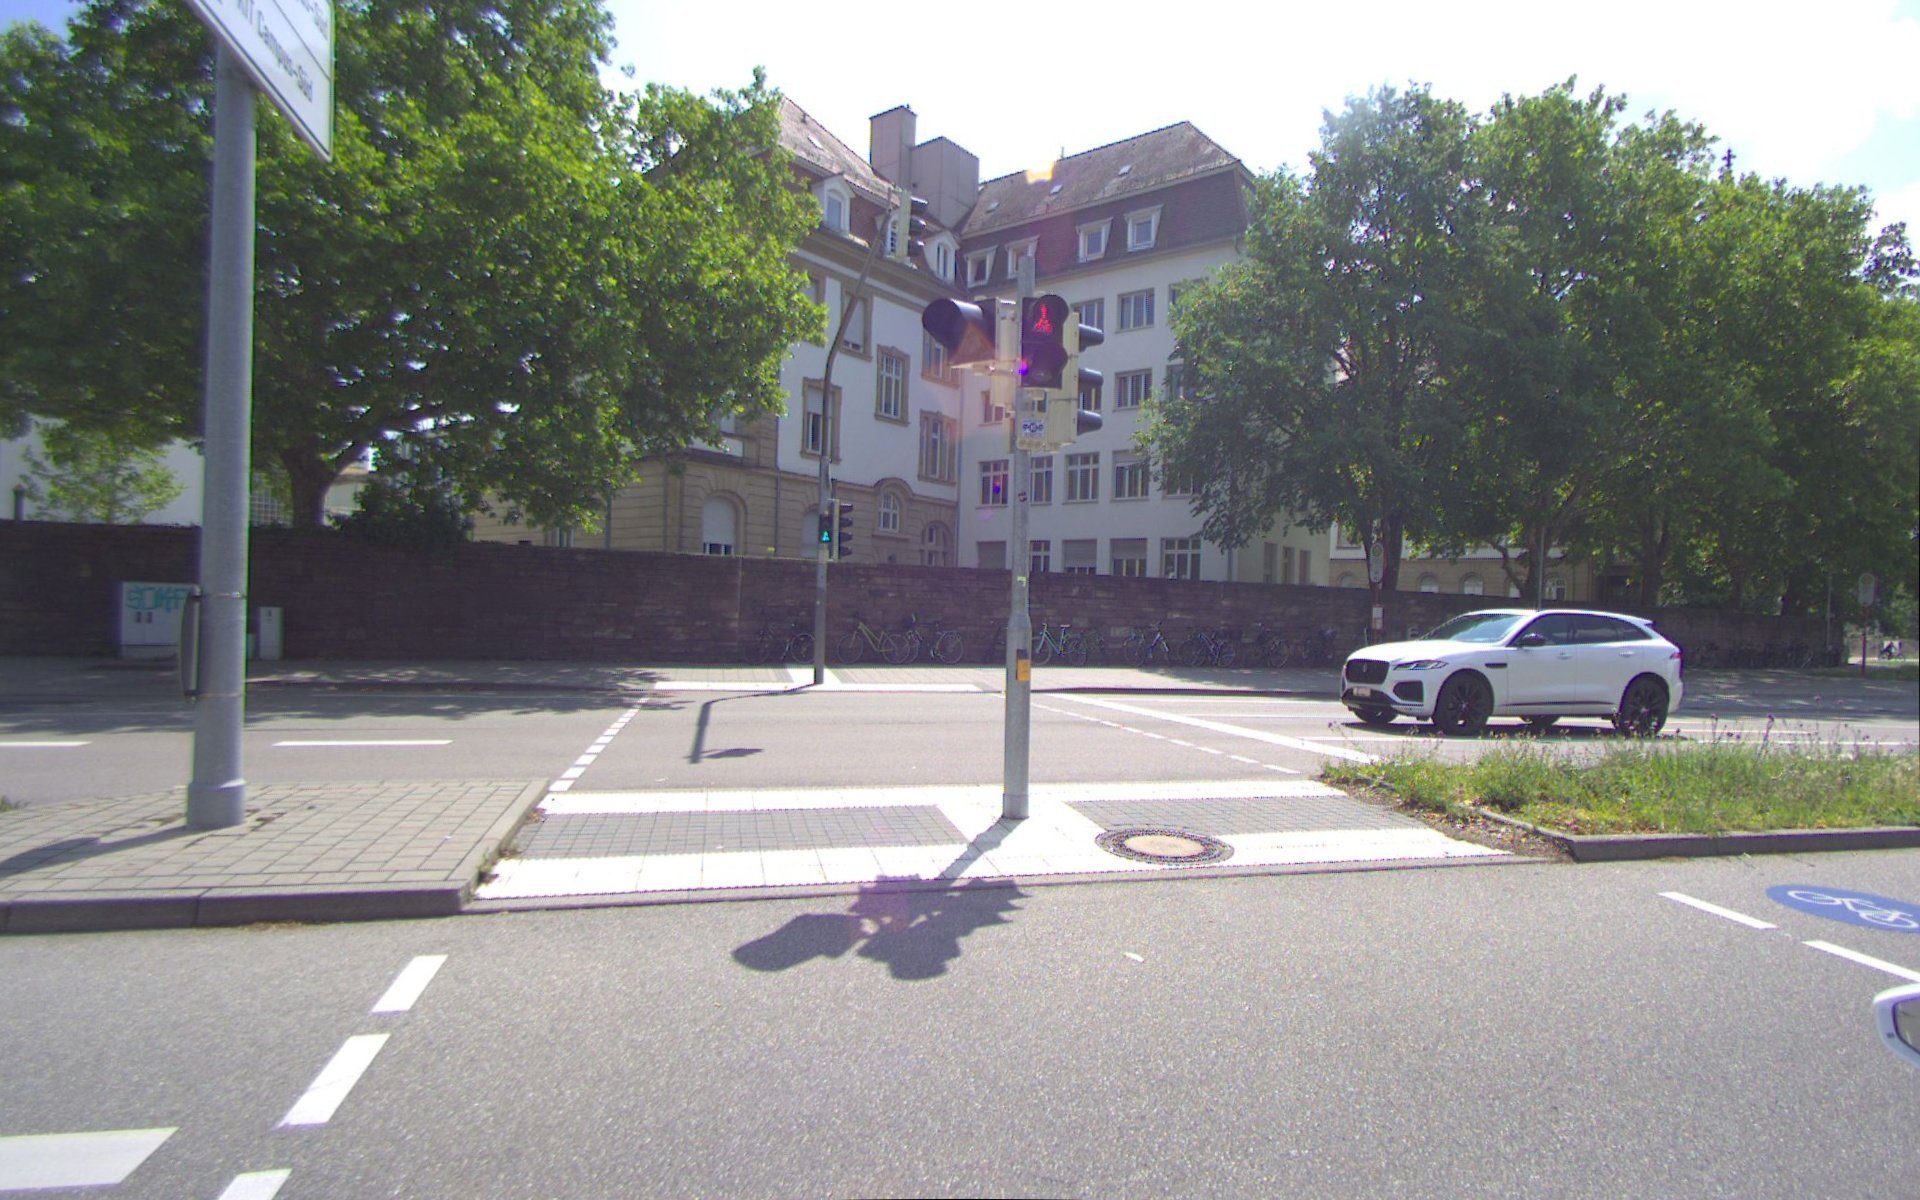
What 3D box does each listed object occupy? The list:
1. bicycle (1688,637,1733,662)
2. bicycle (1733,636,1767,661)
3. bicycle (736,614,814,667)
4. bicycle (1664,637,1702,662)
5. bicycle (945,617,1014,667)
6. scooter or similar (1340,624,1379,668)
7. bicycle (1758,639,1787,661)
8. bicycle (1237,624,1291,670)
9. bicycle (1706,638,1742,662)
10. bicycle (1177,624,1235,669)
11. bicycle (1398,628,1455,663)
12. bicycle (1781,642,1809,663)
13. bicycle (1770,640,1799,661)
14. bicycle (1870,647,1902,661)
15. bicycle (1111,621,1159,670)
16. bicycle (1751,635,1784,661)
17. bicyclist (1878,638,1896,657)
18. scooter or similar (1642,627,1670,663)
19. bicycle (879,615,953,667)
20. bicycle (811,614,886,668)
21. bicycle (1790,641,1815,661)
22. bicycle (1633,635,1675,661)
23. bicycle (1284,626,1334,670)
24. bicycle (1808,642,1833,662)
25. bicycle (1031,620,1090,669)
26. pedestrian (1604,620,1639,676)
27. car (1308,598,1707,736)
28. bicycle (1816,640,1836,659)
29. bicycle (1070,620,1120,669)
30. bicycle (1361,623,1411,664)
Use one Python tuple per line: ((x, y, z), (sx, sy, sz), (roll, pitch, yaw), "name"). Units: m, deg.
((28.427, 1.877, 38.051), (1.639, 0.914, 0.501), (2, 0, -19), "bicycle")
((32.126, 1.978, 40.836), (1.647, 0.964, 0.540), (2, 0, -32), "bicycle")
((-4.005, 0.882, 21.778), (1.572, 1.113, 0.570), (1, 0, -24), "bicycle")
((26.849, 1.835, 37.293), (1.646, 0.914, 0.541), (2, 0, -30), "bicycle")
((0.465, 0.999, 23.800), (1.570, 1.168, 0.412), (1, 0, -21), "bicycle")
((11.024, 1.257, 27.715), (1.181, 1.168, 0.429), (1, 0, -36), "scooter or similar")
((34.739, 2.132, 42.939), (1.649, 0.914, 0.540), (2, 0, -36), "bicycle")
((8.135, 1.251, 26.844), (1.579, 1.168, 0.528), (2, 0, -37), "bicycle")
((29.886, 1.951, 39.270), (1.646, 0.914, 0.541), (2, 0, -31), "bicycle")
((6.459, 1.221, 26.372), (1.574, 1.168, 0.400), (1, 0, -27), "bicycle")
((13.920, 1.353, 29.941), (1.777, 1.021, 0.479), (2, 0, -25), "bicycle")
((37.423, 2.341, 45.011), (1.649, 0.914, 0.540), (2, 0, -36), "bicycle")
((36.100, 2.205, 43.974), (1.649, 0.914, 0.540), (2, 0, -36), "bicycle")
((77.105, 4.503, 83.655), (0.540, 1.044, 1.917), (1, 0, -21), "bicycle")
((4.393, 1.128, 25.156), (0.397, 1.168, 1.586), (1, 0, 42), "bicycle")
((33.549, 1.991, 41.724), (1.606, 1.065, 0.540), (2, 0, -32), "bicycle")
((77.134, 3.968, 83.585), (0.543, 1.493, 0.966), (1, 0, -21), "bicyclist")
((24.079, 1.560, 34.730), (1.181, 1.199, 0.429), (1, 0, -36), "scooter or similar")
((-1.009, 0.941, 23.109), (1.572, 1.168, 0.619), (1, 0, -24), "bicycle")
((-2.492, 0.924, 22.453), (1.572, 1.168, 0.497), (1, 0, -24), "bicycle")
((38.749, 2.341, 46.193), (1.777, 0.914, 0.449), (2, 0, -36), "bicycle")
((24.837, 1.718, 35.940), (1.644, 0.914, 0.541), (2, 0, -27), "bicycle")
((9.657, 1.320, 27.778), (1.579, 1.168, 0.528), (2, 0, -37), "bicycle")
((41.498, 2.509, 48.411), (1.649, 0.914, 0.540), (2, 0, -36), "bicycle")
((2.479, 1.076, 24.640), (1.580, 1.168, 0.398), (2, 0, -38), "bicycle")
((19.893, 1.430, 30.192), (0.750, 1.638, 0.610), (1, 1, -36), "pedestrian")
((7.490, 0.884, 13.902), (4.694, 1.689, 2.072), (1, 0, -14), "car")
((42.989, 2.435, 49.856), (1.652, 0.914, 0.539), (2, 0, -41), "bicycle")
((3.335, 1.083, 24.736), (0.397, 1.168, 1.586), (1, 0, 42), "bicycle")
((12.387, 1.262, 29.191), (1.574, 1.158, 0.430), (1, 0, -28), "bicycle")
